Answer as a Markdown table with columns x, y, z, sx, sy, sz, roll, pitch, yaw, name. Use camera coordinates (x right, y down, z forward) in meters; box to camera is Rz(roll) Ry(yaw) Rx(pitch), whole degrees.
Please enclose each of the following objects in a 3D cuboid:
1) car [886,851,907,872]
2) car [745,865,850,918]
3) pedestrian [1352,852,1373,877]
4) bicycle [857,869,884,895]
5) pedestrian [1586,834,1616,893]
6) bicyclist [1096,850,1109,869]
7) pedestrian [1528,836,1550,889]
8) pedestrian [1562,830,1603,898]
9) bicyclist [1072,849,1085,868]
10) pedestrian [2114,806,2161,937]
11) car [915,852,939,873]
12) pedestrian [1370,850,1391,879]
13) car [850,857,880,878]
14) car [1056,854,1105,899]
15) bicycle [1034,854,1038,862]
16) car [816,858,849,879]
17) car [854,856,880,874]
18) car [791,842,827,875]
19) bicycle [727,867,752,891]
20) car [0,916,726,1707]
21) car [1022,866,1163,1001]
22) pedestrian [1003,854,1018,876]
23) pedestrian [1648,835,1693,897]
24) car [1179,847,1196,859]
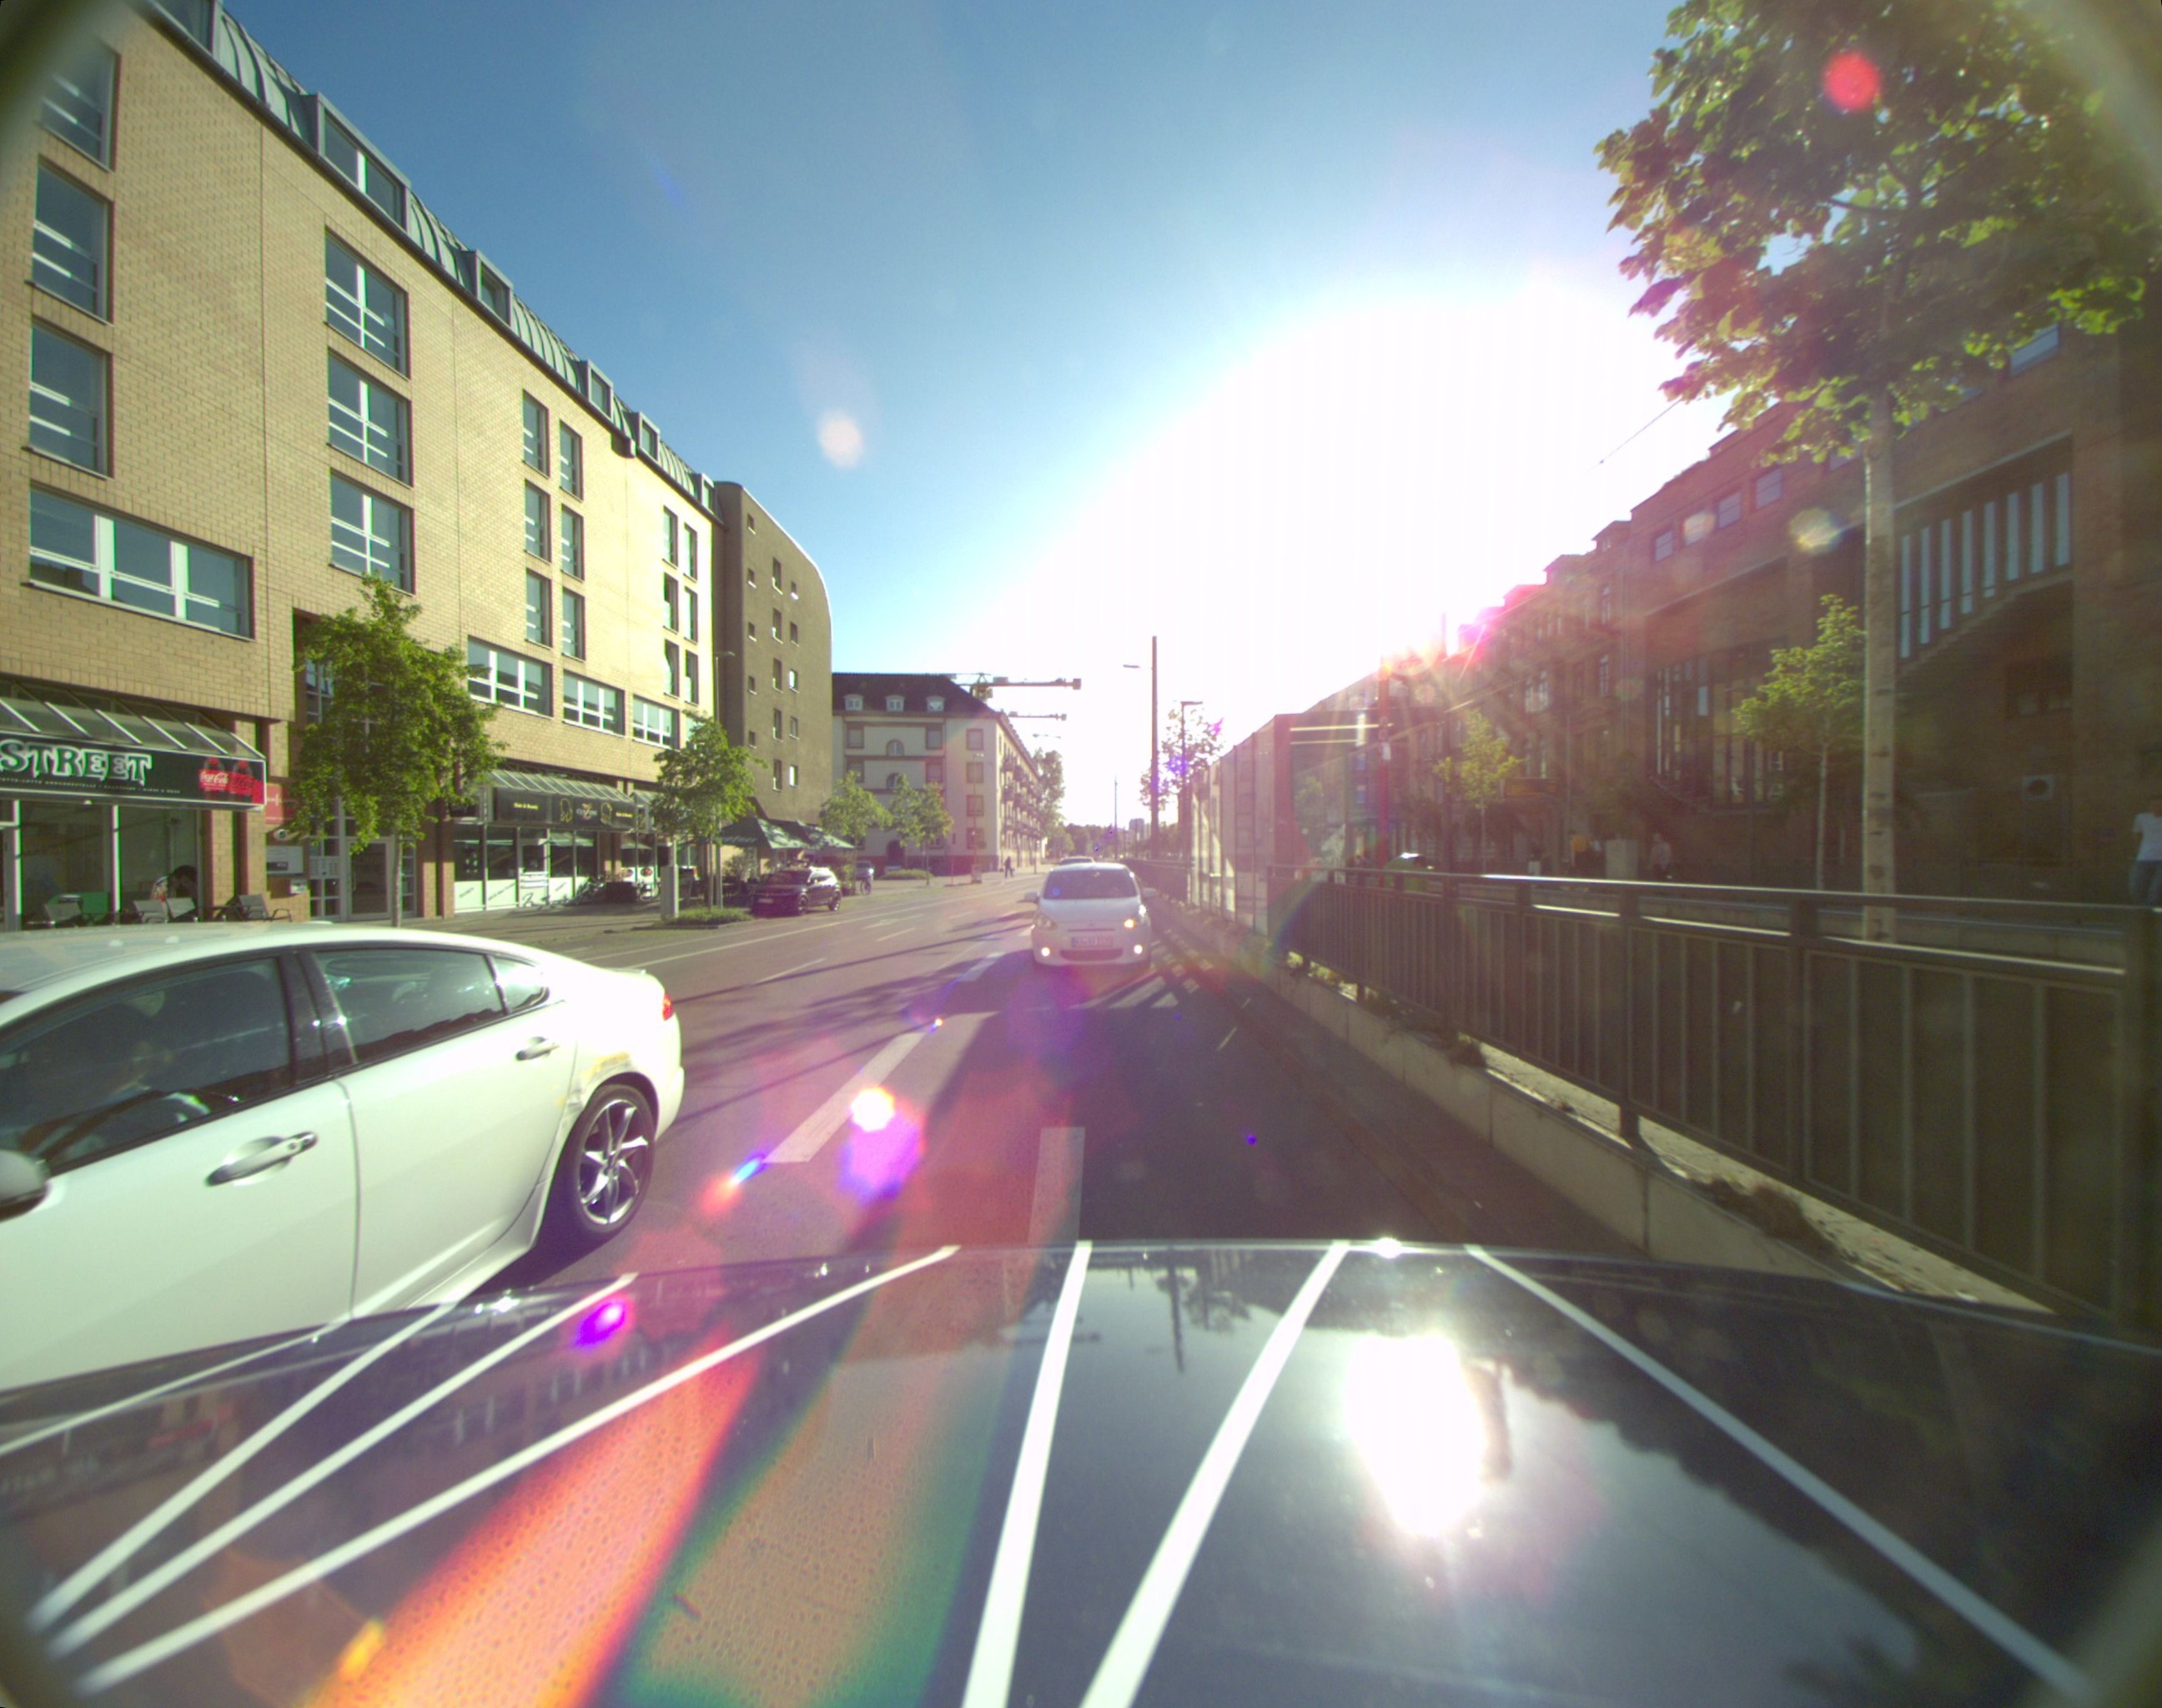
| x | y | z | sx | sy | sz | roll | pitch | yaw | name |
| --- | --- | --- | --- | --- | --- | --- | --- | --- | --- |
| -16.489 | 0.658 | 68.050 | 1.629 | 1.677 | 4.434 | -1 | 2 | -11 | car |
| -9.908 | 1.252 | 26.926 | 1.724 | 1.627 | 4.233 | 0 | 1 | 7 | car |
| 13.670 | 0.499 | 36.951 | 0.723 | 1.161 | 0.721 | 1 | 1 | 1 | pedestrian |
| -10.215 | 1.338 | 36.865 | 0.767 | 1.075 | 1.997 | 4 | 1 | -3 | bicycle |
| 14.365 | 0.258 | 20.997 | 0.379 | 1.612 | 0.553 | -3 | 1 | 1 | pedestrian |
| 2.032 | 0.499 | 72.040 | 0.886 | 1.763 | 0.854 | -1 | 1 | -26 | bicyclist |
| 14.305 | 0.258 | 23.729 | 0.379 | 1.639 | 0.416 | -3 | 1 | 1 | pedestrian |
| 12.725 | 0.244 | 19.286 | 0.642 | 1.686 | 0.541 | -3 | 1 | 1 | pedestrian |
| -0.186 | 0.421 | 69.940 | 0.935 | 1.753 | 0.737 | 0 | 1 | 42 | bicyclist |
| 14.289 | 0.218 | 9.968 | 0.624 | 1.705 | 0.616 | -2 | 1 | 1 | pedestrian |
| -13.790 | 0.743 | 68.206 | 1.697 | 1.676 | 4.437 | -3 | 0 | -7 | car |
| 13.742 | 0.457 | 34.910 | 0.647 | 1.301 | 0.721 | 1 | 1 | 1 | pedestrian |
| -15.890 | 0.975 | 56.035 | 1.668 | 1.466 | 3.833 | -3 | 0 | -11 | car |
| 0.035 | 0.918 | 32.924 | 1.899 | 1.730 | 4.000 | -3 | 0 | 2 | car |
| -6.889 | 0.593 | 116.259 | 0.419 | 1.089 | 2.198 | 0 | 0 | 1 | bicycle |
| -18.129 | 1.031 | 55.600 | 1.637 | 1.444 | 3.653 | -3 | 0 | -9 | car |
| -18.965 | 0.925 | 67.402 | 1.698 | 1.421 | 4.435 | -3 | 1 | -10 | car |
| -23.572 | 0.309 | 66.102 | 1.929 | 2.595 | 5.955 | -1 | 3 | -10 | car |
| -17.200 | 1.258 | 38.287 | 0.615 | 1.162 | 1.536 | 1 | 0 | -2 | bicycle |
| -2.862 | 1.081 | 1.680 | 1.785 | 1.406 | 4.818 | -3 | 0 | 1 | car |
| 0.160 | 0.968 | 11.125 | 1.634 | 1.499 | 4.350 | -1 | 0 | 1 | car |
| -5.715 | 0.893 | 61.745 | 0.885 | 1.753 | 1.106 | 1 | 2 | 10 | pedestrian |
| 14.187 | 0.285 | 18.299 | 0.540 | 1.451 | 0.642 | -3 | 1 | 1 | pedestrian |
| 17.799 | -0.220 | 127.361 | 1.999 | 1.869 | 4.582 | -3 | 0 | -2 | car |
